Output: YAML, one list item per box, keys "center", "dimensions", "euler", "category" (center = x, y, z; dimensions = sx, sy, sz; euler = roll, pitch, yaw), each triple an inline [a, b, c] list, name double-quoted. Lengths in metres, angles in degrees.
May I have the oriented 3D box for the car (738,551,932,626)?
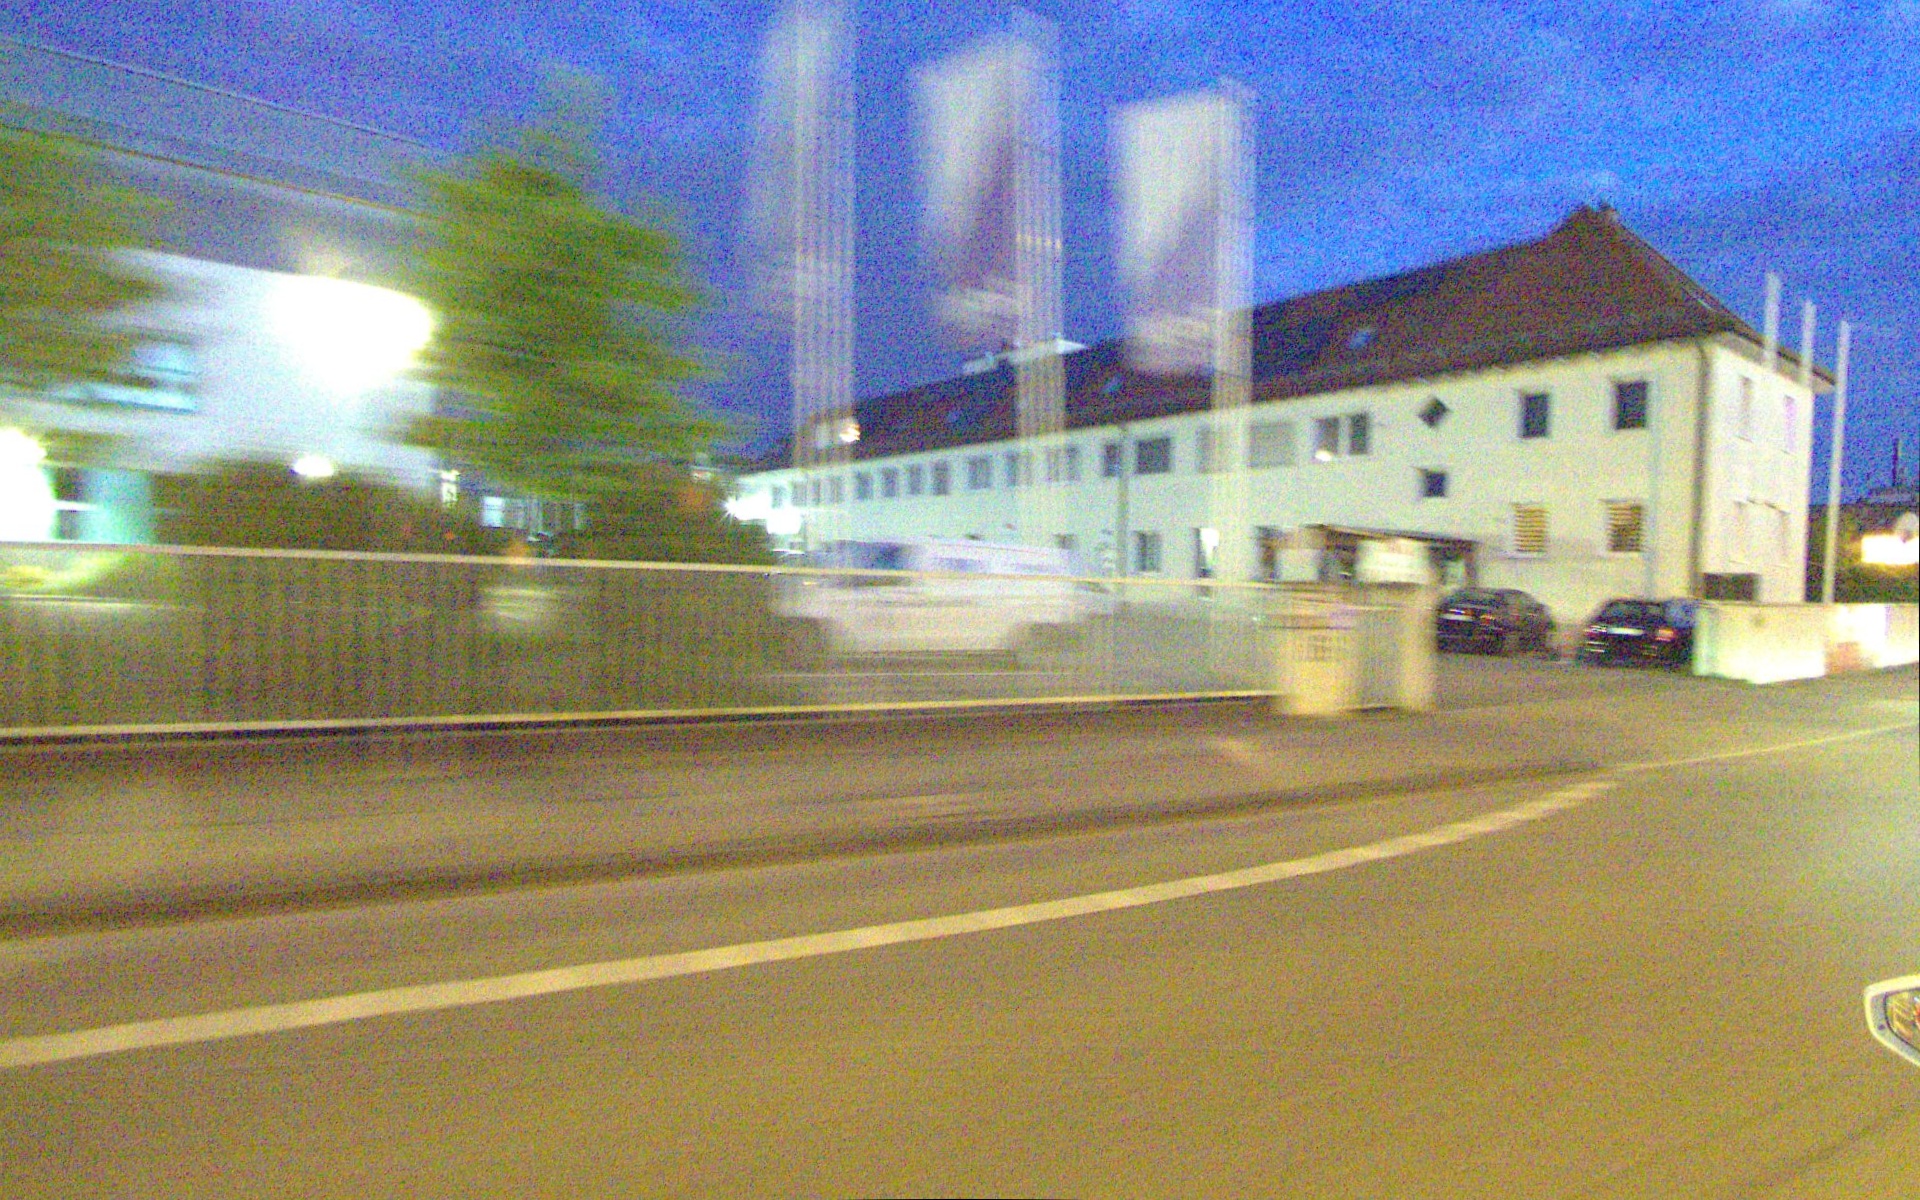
- center: [-3.706, -0.306, 30.231]
  dimensions: [5.355, 2.031, 2.235]
  euler: [1, 1, -35]
  category: "car"

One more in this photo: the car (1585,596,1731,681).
- center: [14.522, 0.715, 20.791]
  dimensions: [1.808, 1.514, 4.501]
  euler: [2, 1, 43]
  category: "car"

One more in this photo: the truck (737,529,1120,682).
- center: [-0.413, 0.114, 14.753]
  dimensions: [5.247, 1.925, 1.986]
  euler: [2, 1, -27]
  category: "truck"

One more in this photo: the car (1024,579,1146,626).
- center: [4.415, 0.082, 34.968]
  dimensions: [4.497, 1.514, 1.809]
  euler: [0, 1, -45]
  category: "car"

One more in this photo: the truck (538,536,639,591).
- center: [-18.933, -1.823, 51.241]
  dimensions: [4.478, 2.573, 1.981]
  euler: [1, 1, -35]
  category: "truck"

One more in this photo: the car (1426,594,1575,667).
- center: [12.757, 0.664, 23.578]
  dimensions: [4.497, 1.514, 1.809]
  euler: [0, 1, -45]
  category: "car"

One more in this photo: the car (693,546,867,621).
- center: [-5.854, -0.510, 33.118]
  dimensions: [5.366, 2.265, 2.003]
  euler: [1, 1, -40]
  category: "car"

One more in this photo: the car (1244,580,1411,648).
- center: [9.808, 0.370, 26.618]
  dimensions: [4.912, 1.602, 1.813]
  euler: [1, 1, -38]
  category: "car"

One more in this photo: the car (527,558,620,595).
- center: [-18.609, -1.098, 48.374]
  dimensions: [3.954, 1.595, 1.724]
  euler: [1, -1, -31]
  category: "car"
